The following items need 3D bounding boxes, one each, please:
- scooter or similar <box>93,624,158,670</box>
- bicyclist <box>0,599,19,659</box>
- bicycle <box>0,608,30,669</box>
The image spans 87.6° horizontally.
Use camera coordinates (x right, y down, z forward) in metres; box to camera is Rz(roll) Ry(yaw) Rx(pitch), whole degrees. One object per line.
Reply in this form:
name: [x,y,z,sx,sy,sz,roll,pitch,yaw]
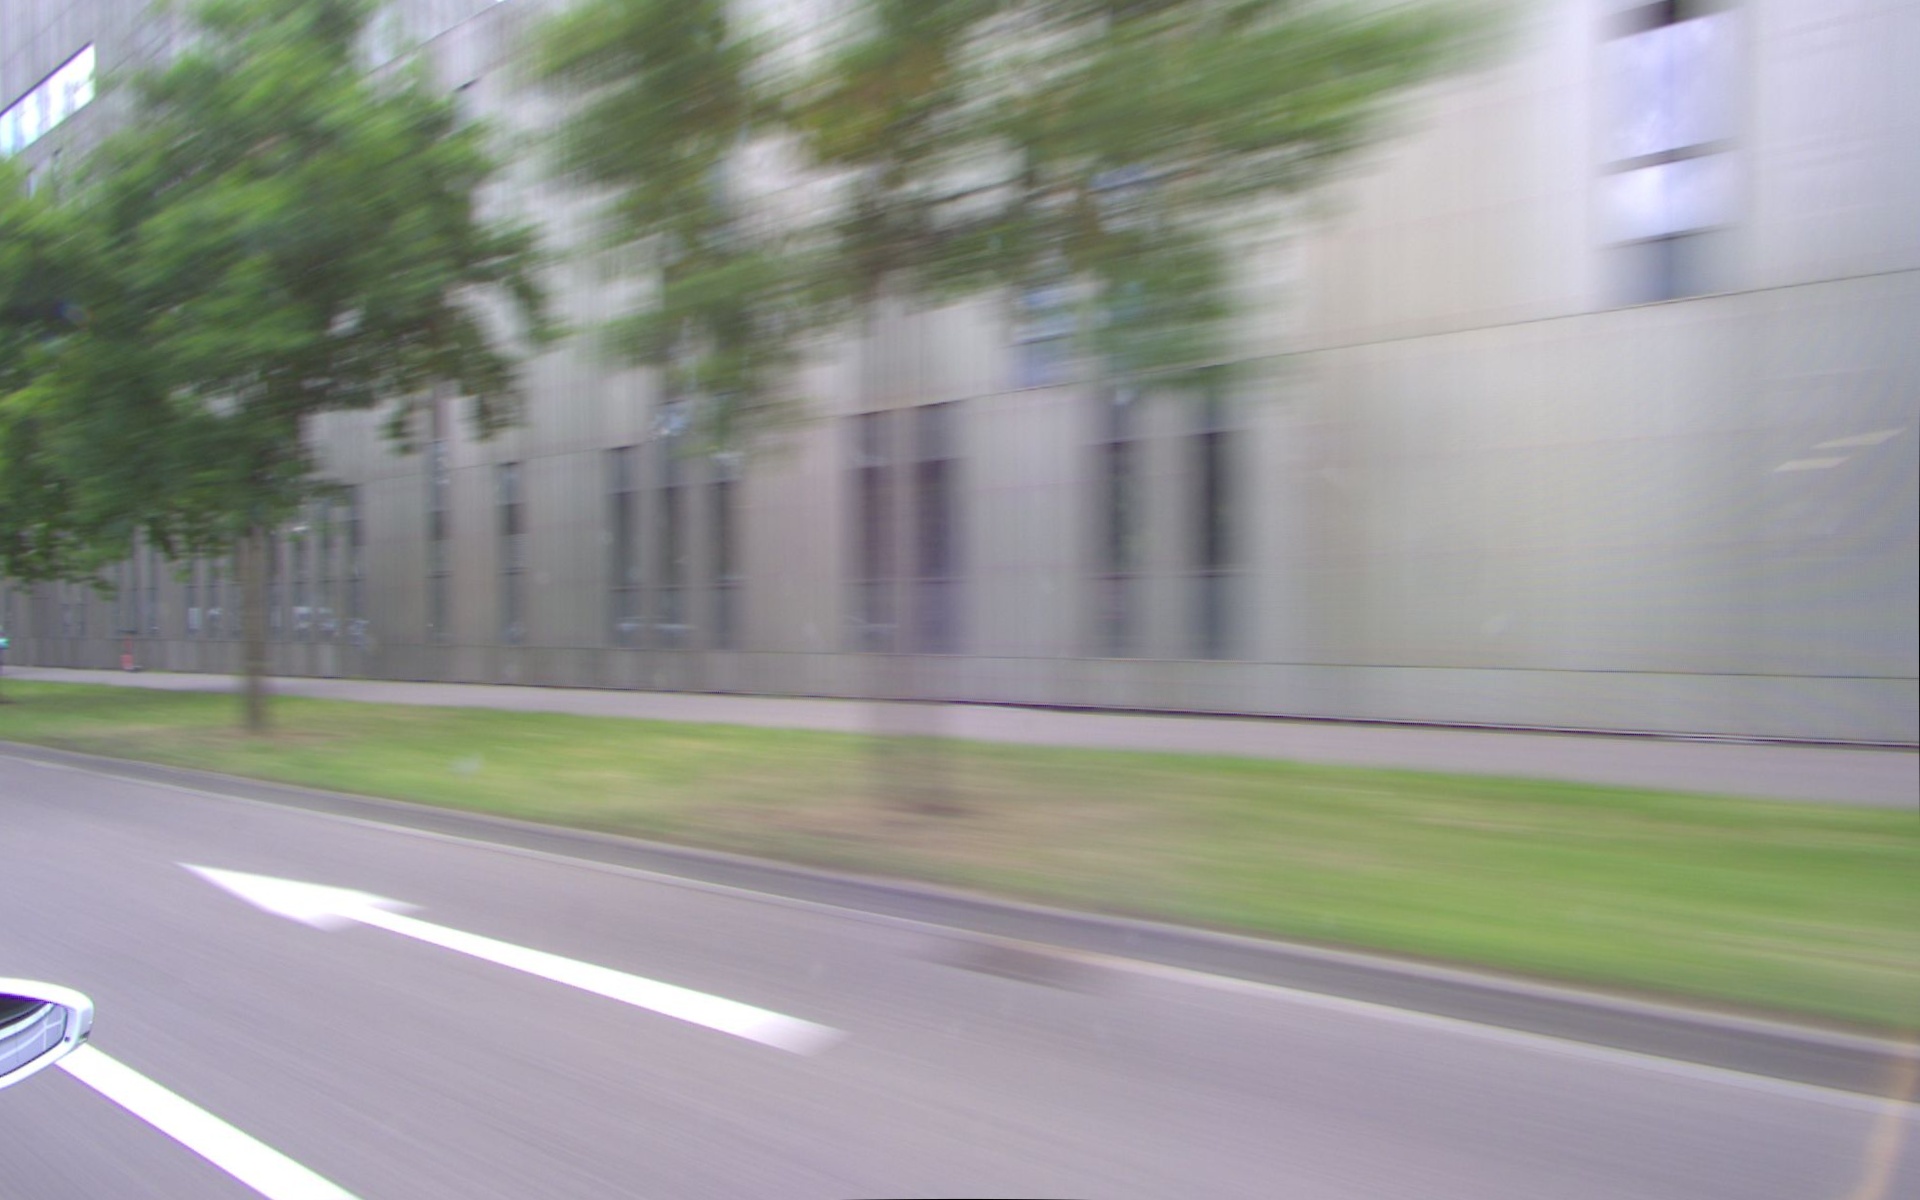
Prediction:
scooter or similar: [-24.086,1.348,28.902,2.444,1.263,0.703,-1,1,32]
bicyclist: [-28.988,0.862,30.114,0.973,1.792,0.714,-1,0,28]
bicycle: [-29.015,1.150,30.135,2.494,1.797,0.719,-1,0,29]
